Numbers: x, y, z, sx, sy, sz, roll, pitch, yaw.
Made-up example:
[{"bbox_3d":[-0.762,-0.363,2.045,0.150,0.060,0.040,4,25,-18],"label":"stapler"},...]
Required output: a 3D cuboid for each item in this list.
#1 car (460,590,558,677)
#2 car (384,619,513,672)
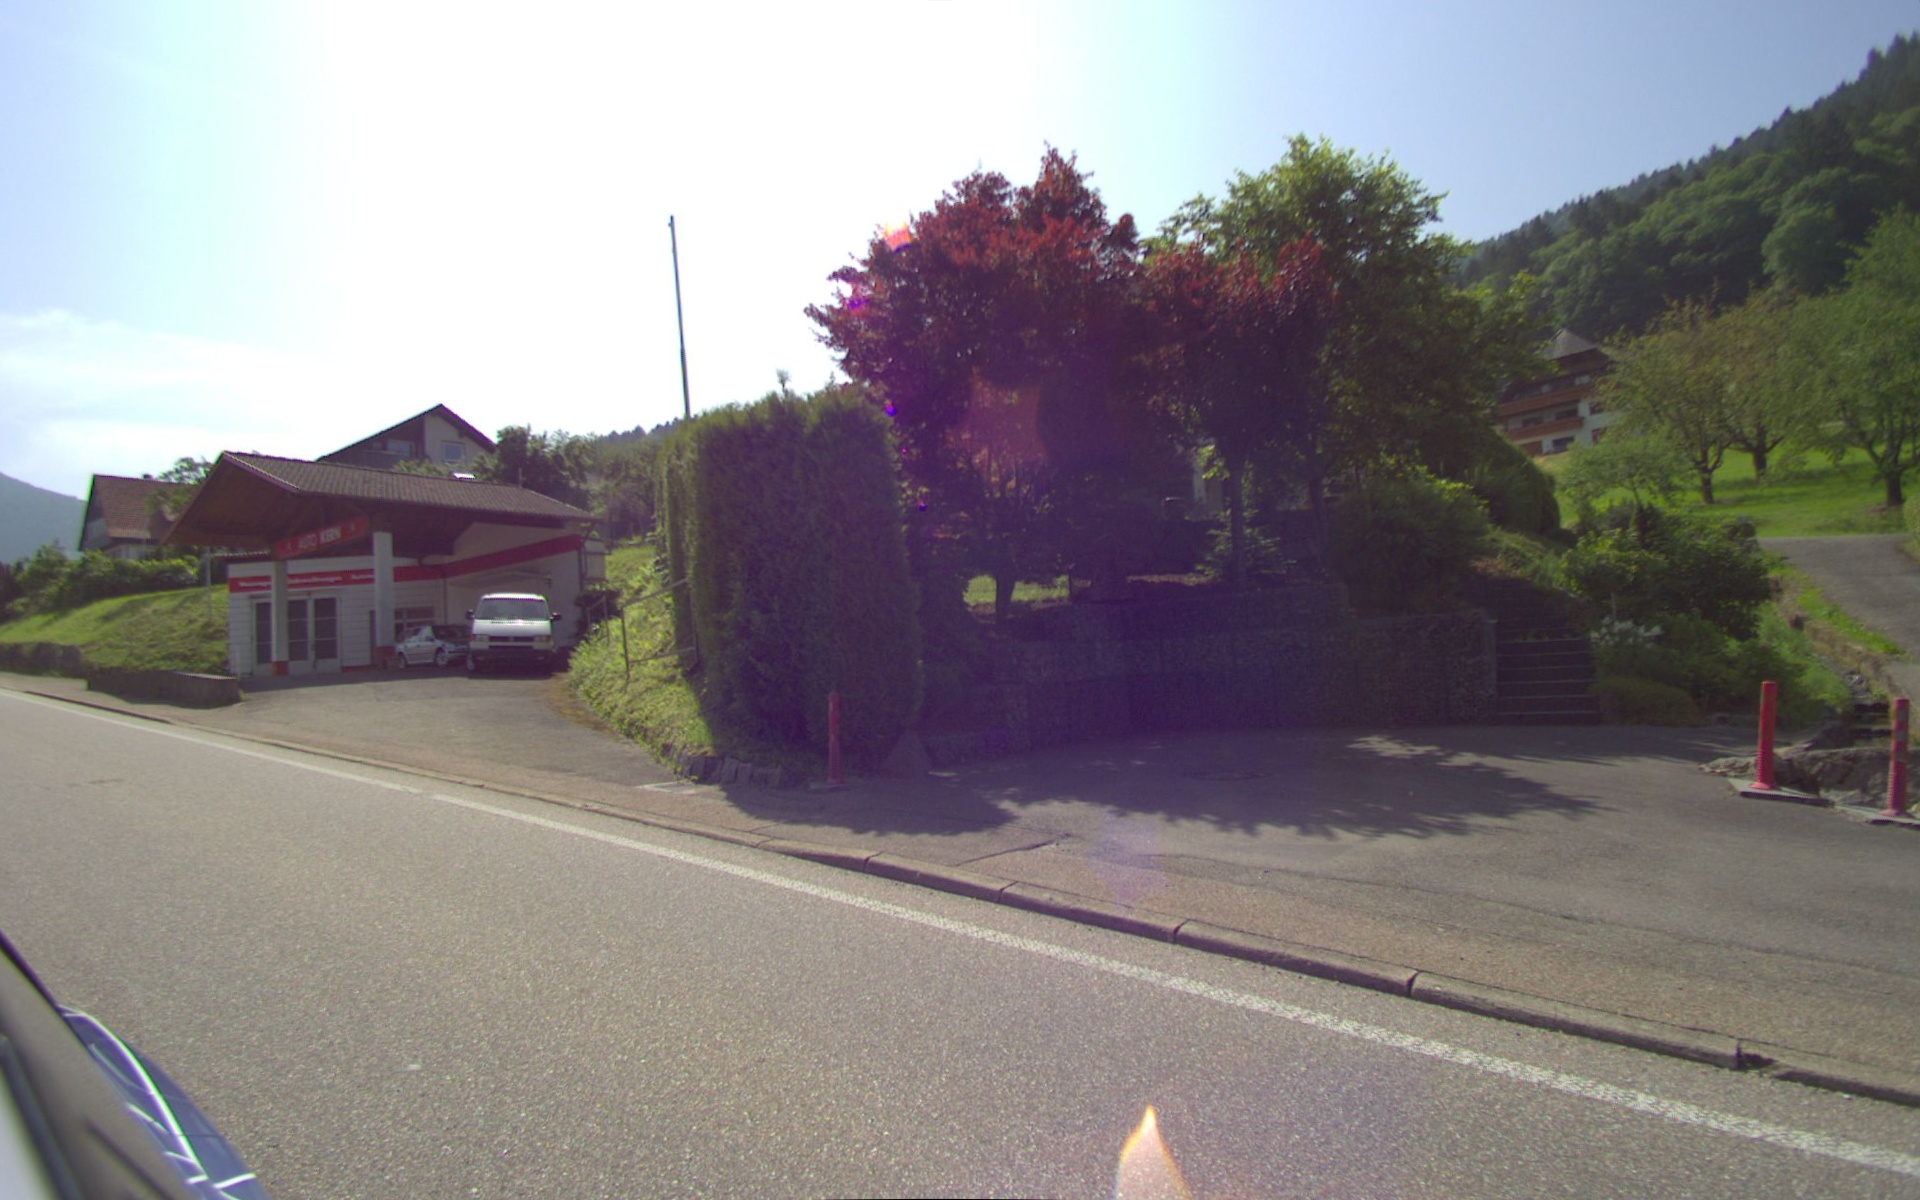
[{"bbox_3d":[-11.274,0.787,25.557,1.992,1.944,4.793,2,-1,-22],"label":"car"},{"bbox_3d":[-15.679,1.406,30.927,4.339,1.424,1.938,-4,-3,39],"label":"car"}]
